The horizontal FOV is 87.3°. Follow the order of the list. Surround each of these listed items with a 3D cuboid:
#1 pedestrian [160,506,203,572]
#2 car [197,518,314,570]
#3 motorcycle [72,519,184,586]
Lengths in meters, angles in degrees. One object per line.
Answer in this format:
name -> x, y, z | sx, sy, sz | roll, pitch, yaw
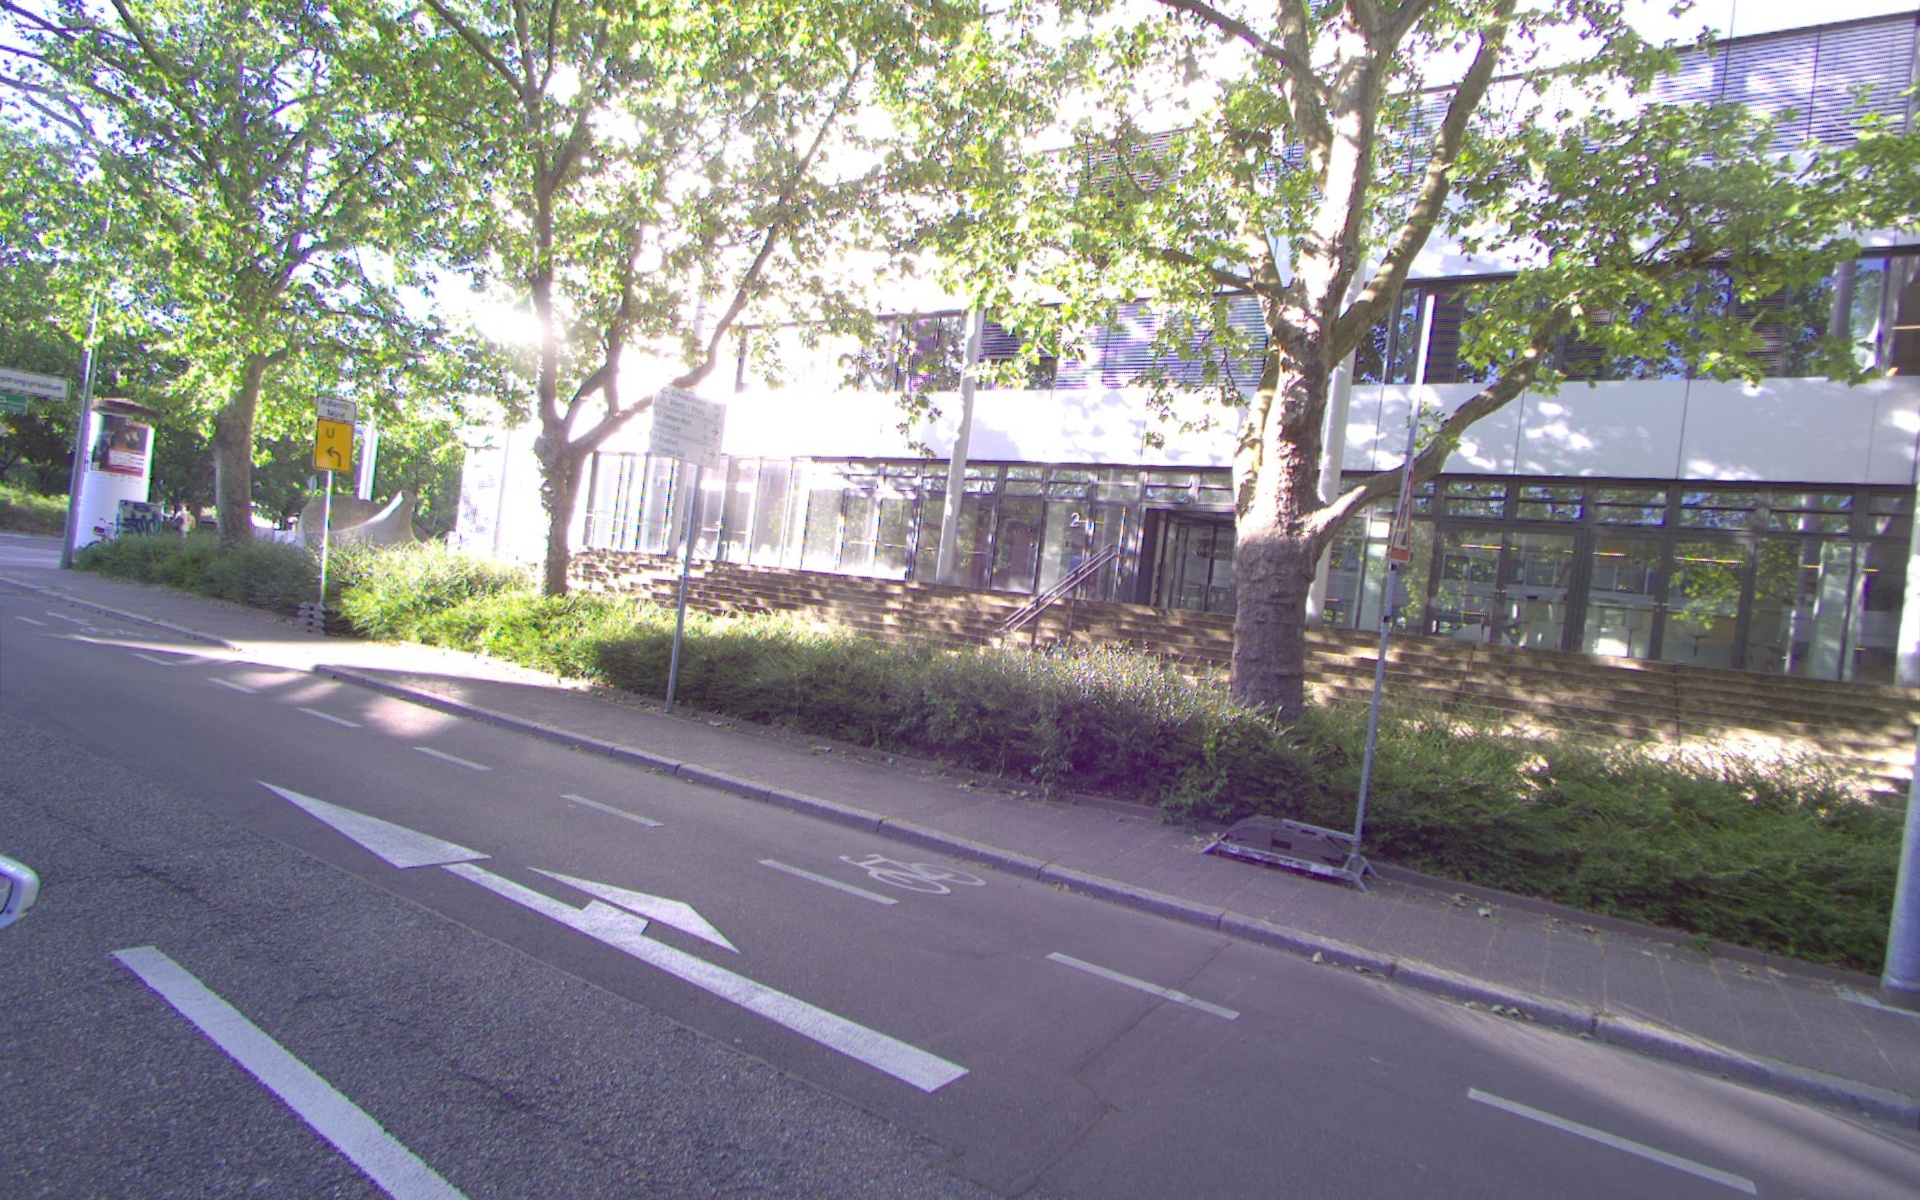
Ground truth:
pedestrian -> -23.045, -1.809, 29.784 | 0.656, 1.849, 0.648 | 7, 0, 31
car -> -32.706, -2.564, 46.825 | 1.708, 1.792, 3.996 | 7, -1, 30
motorcycle -> -19.233, -1.092, 23.283 | 0.712, 1.257, 1.782 | 6, -2, 37
